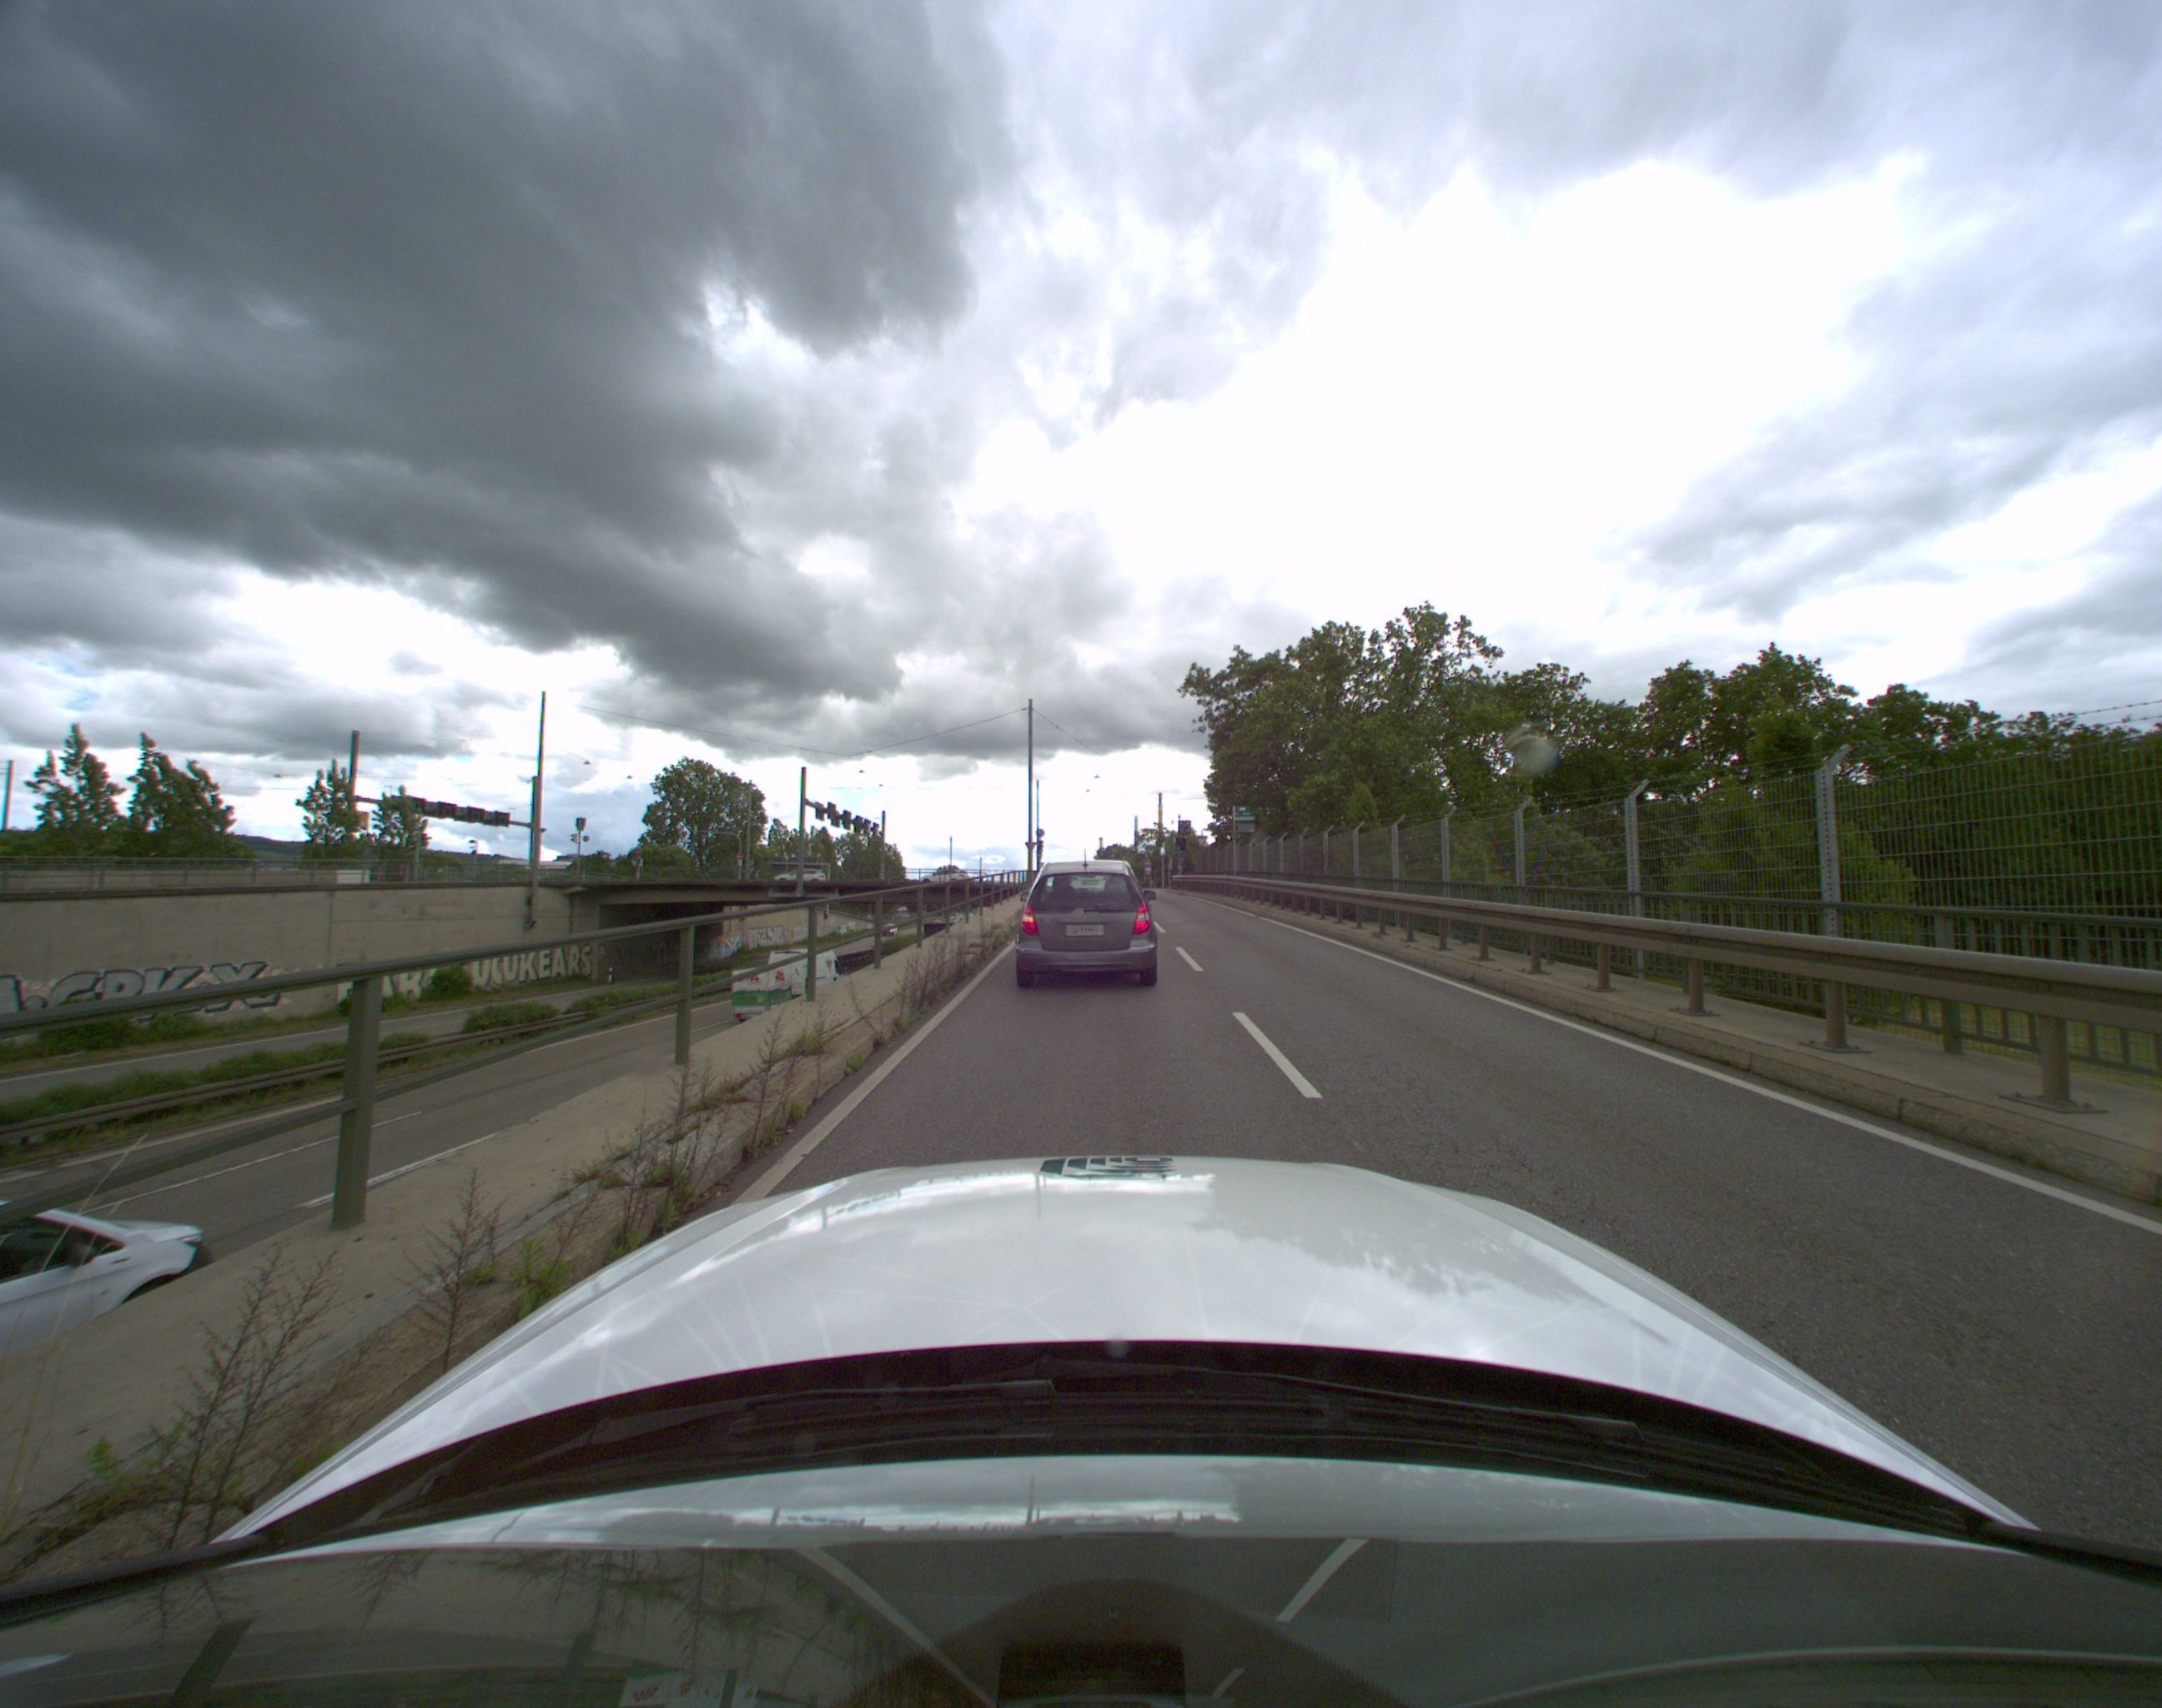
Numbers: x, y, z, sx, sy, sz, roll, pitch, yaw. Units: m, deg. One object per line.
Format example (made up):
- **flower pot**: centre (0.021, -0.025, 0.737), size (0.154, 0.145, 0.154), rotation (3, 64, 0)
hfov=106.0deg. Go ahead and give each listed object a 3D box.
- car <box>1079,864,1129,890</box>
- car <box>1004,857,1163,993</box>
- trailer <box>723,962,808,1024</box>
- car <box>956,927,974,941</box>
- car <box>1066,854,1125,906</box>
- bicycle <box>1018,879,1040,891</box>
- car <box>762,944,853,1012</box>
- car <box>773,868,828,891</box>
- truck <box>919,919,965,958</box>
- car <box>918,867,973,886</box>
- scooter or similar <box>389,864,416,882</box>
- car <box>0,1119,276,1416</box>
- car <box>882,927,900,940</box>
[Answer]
- **car**: centre (1.577, 1.571, 56.609), size (1.940, 1.717, 3.967), rotation (0, -1, -25)
- **car**: centre (0.097, 0.853, 11.537), size (1.851, 1.588, 4.001), rotation (0, -1, 2)
- **trailer**: centre (-12.666, 5.559, 32.982), size (1.722, 2.130, 3.936), rotation (0, -4, 2)
- **car**: centre (-17.959, 12.409, 125.993), size (1.891, 2.003, 4.959), rotation (-1, -4, 2)
- **car**: centre (0.446, 0.894, 29.005), size (1.926, 1.717, 4.403), rotation (0, -1, -1)
- **bicycle**: centre (-5.100, 2.967, 79.119), size (2.033, 1.125, 0.925), rotation (0, -1, -12)
- **car**: centre (-12.550, 5.621, 37.844), size (1.986, 2.685, 5.933), rotation (0, -4, 2)
- **car**: centre (-24.255, 2.190, 70.575), size (4.202, 1.870, 1.992), rotation (0, -1, -12)
- **truck**: centre (-12.658, 7.675, 74.828), size (2.736, 3.294, 7.442), rotation (0, -4, 2)
- **car**: centre (-11.672, 1.956, 70.389), size (4.296, 1.576, 1.847), rotation (-1, -1, 19)
- **scooter or similar**: centre (-42.055, 1.167, 50.482), size (0.542, 1.094, 1.414), rotation (-1, -3, -4)
- **car**: centre (-9.914, 3.665, 6.297), size (1.986, 1.877, 5.199), rotation (-1, -4, 2)
- **car**: centre (-32.176, 13.424, 137.771), size (1.988, 2.067, 5.171), rotation (0, -4, -2)
